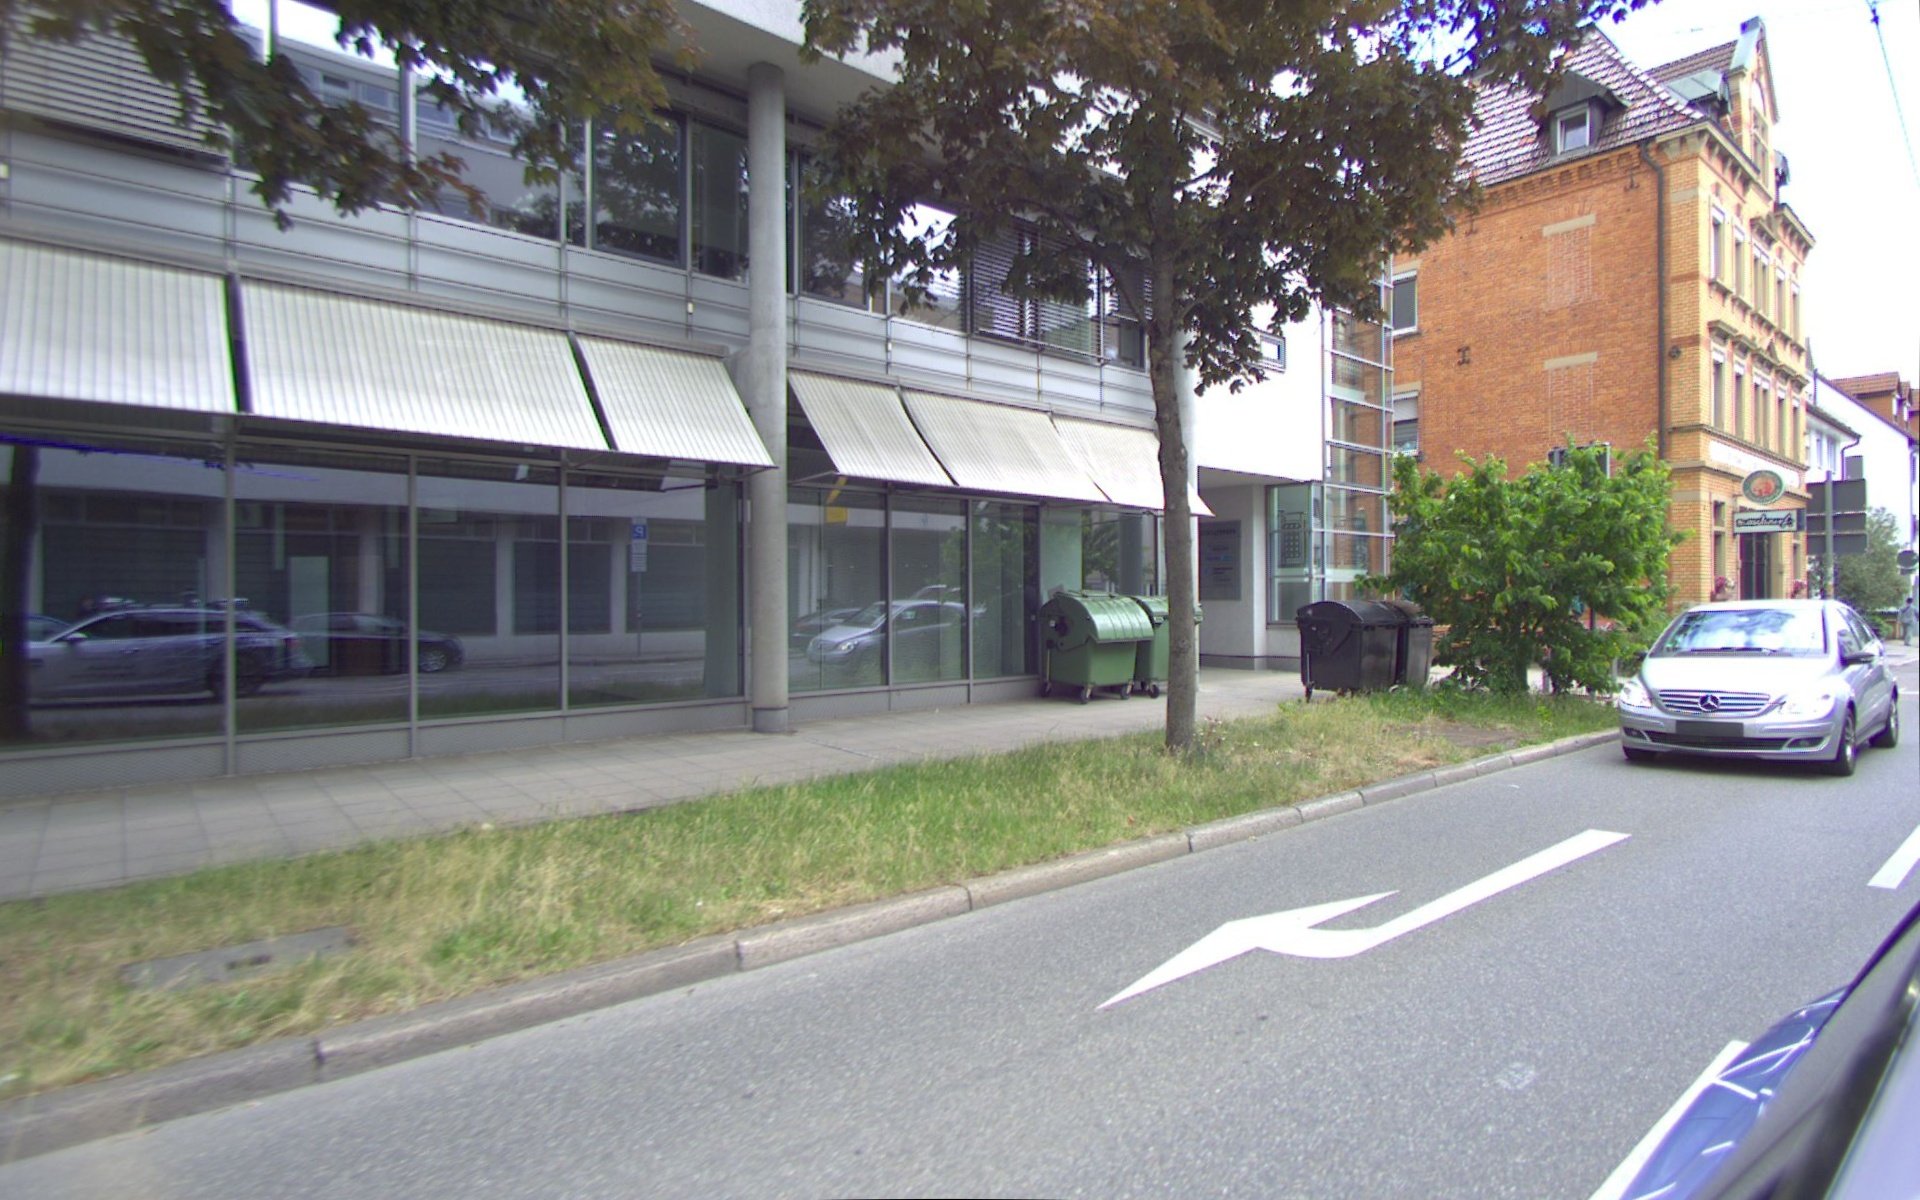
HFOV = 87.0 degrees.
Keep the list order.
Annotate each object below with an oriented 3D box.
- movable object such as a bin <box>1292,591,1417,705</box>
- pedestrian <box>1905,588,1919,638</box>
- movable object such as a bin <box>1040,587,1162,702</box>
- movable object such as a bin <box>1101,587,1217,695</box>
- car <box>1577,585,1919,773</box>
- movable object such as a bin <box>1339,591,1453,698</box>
[{"bbox_3d":[5.575,0.628,14.297,1.388,1.484,1.129,0,1,-42],"label":"movable object such as a bin"},{"bbox_3d":[33.672,0.441,35.506,0.638,1.753,0.689,0,0,-42],"label":"pedestrian"},{"bbox_3d":[1.969,0.580,14.120,1.310,1.484,1.099,0,1,-42],"label":"movable object such as a bin"},{"bbox_3d":[2.956,0.568,15.023,1.310,1.484,1.124,0,1,-42],"label":"movable object such as a bin"},{"bbox_3d":[8.459,0.686,10.642,4.489,1.566,1.997,0,-2,-40],"label":"car"},{"bbox_3d":[6.560,0.626,15.220,1.310,1.484,1.099,0,1,-42],"label":"movable object such as a bin"}]
